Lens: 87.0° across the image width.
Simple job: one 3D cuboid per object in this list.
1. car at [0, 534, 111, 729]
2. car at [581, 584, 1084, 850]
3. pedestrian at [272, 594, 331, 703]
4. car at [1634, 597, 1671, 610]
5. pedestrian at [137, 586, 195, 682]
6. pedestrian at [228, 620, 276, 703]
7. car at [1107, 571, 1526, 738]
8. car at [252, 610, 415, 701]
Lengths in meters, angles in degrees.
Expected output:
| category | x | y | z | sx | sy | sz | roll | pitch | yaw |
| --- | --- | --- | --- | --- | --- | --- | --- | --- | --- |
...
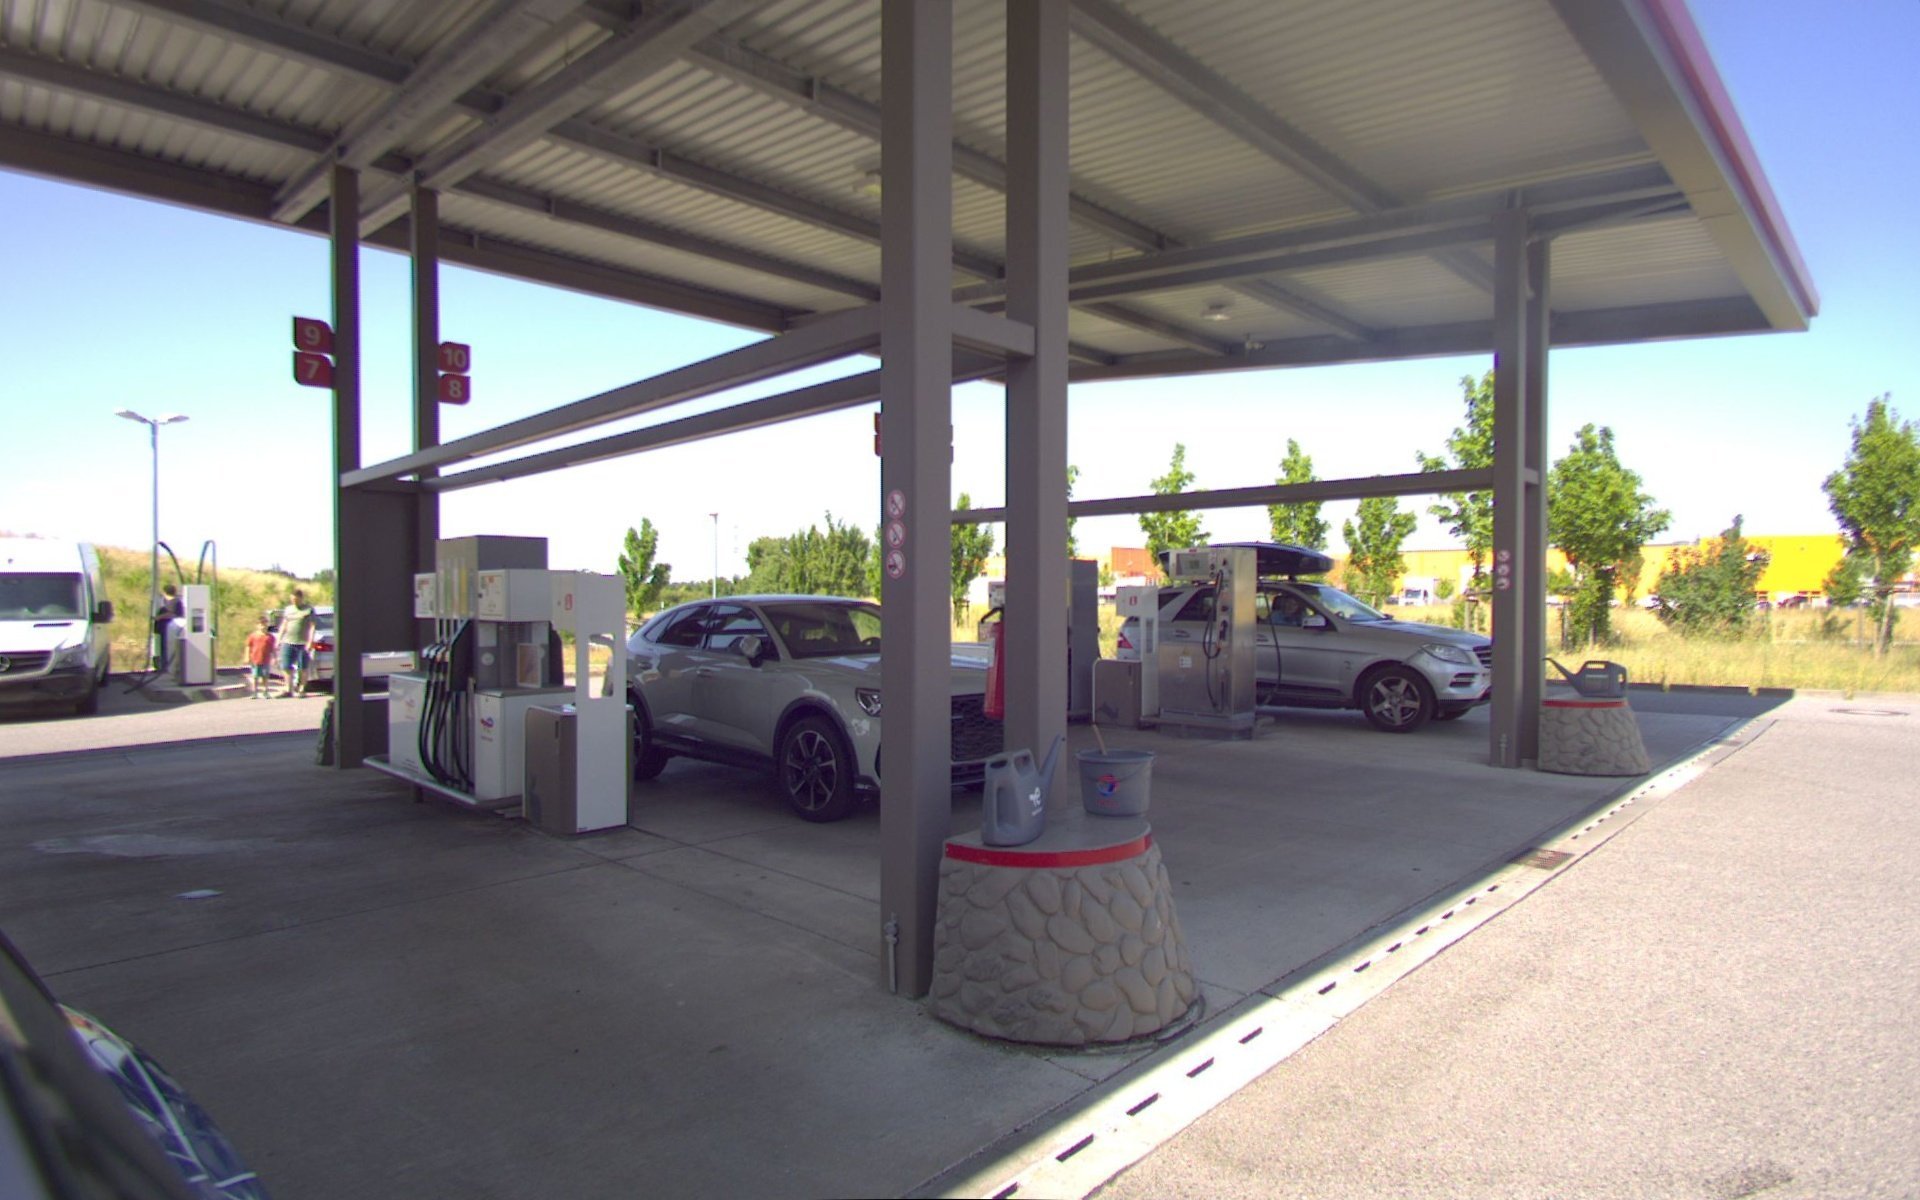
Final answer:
| category | x | y | z | sx | sy | sz | roll | pitch | yaw |
| --- | --- | --- | --- | --- | --- | --- | --- | --- | --- |
| car | -15.009 | 0.335 | 16.167 | 1.968 | 2.590 | 7.046 | 0 | 1 | -38 |
| car | -1.257 | 0.713 | 8.102 | 1.759 | 1.553 | 4.329 | 0 | -1 | -44 |
| pedestrian | -10.984 | 0.785 | 16.867 | 0.698 | 1.762 | 0.846 | 0 | -1 | -42 |
| car | 72.316 | 0.370 | 105.734 | 1.463 | 1.309 | 2.949 | 0 | -1 | -43 |
| pedestrian | -15.169 | 0.635 | 19.337 | 0.832 | 1.783 | 0.710 | 0 | -1 | -41 |
| pedestrian | -11.637 | 0.994 | 16.641 | 0.569 | 1.316 | 0.670 | 0 | -1 | -42 |
| car | 4.244 | 0.592 | 12.526 | 4.534 | 1.700 | 1.840 | -1 | -1 | 42 |
| car | -11.840 | 0.944 | 18.995 | 1.766 | 1.439 | 4.326 | 0 | 0 | -43 |
